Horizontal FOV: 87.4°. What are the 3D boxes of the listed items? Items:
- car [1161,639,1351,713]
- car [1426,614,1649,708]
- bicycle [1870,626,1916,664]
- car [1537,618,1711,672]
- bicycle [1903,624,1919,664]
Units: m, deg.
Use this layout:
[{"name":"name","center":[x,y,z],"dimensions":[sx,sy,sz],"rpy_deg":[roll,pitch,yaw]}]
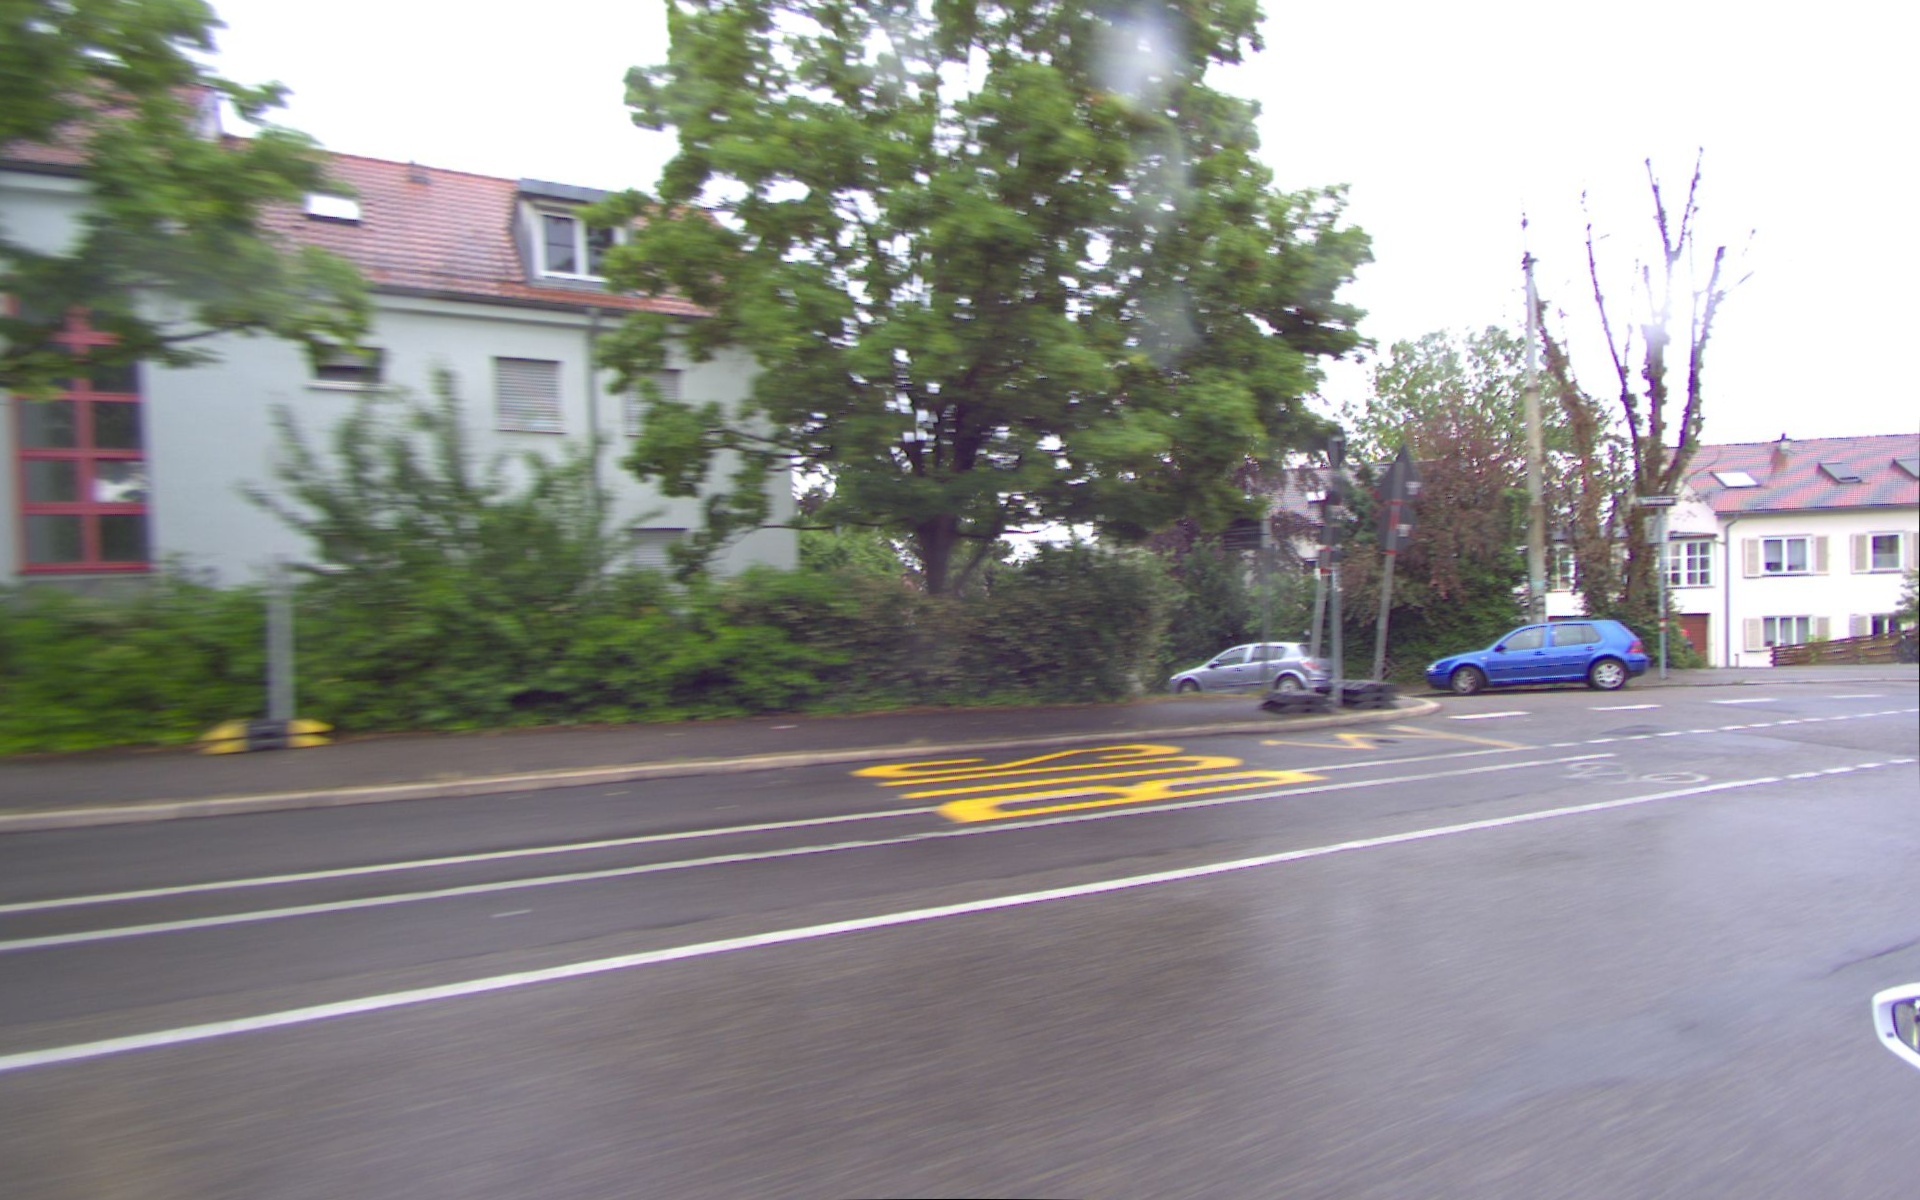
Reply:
[{"name":"car","center":[7.086,1.770,24.286],"dimensions":[4.024,1.514,1.831],"rpy_deg":[0,-1,44]},{"name":"car","center":[11.966,1.215,21.111],"dimensions":[3.868,1.688,1.840],"rpy_deg":[2,-1,26]},{"name":"bicycle","center":[26.465,1.281,28.510],"dimensions":[0.299,1.048,1.329],"rpy_deg":[3,-3,12]},{"name":"car","center":[17.326,1.158,26.358],"dimensions":[3.490,1.345,1.556],"rpy_deg":[0,-1,10]},{"name":"bicycle","center":[26.146,1.189,27.134],"dimensions":[0.299,1.048,1.305],"rpy_deg":[3,-3,10]}]
